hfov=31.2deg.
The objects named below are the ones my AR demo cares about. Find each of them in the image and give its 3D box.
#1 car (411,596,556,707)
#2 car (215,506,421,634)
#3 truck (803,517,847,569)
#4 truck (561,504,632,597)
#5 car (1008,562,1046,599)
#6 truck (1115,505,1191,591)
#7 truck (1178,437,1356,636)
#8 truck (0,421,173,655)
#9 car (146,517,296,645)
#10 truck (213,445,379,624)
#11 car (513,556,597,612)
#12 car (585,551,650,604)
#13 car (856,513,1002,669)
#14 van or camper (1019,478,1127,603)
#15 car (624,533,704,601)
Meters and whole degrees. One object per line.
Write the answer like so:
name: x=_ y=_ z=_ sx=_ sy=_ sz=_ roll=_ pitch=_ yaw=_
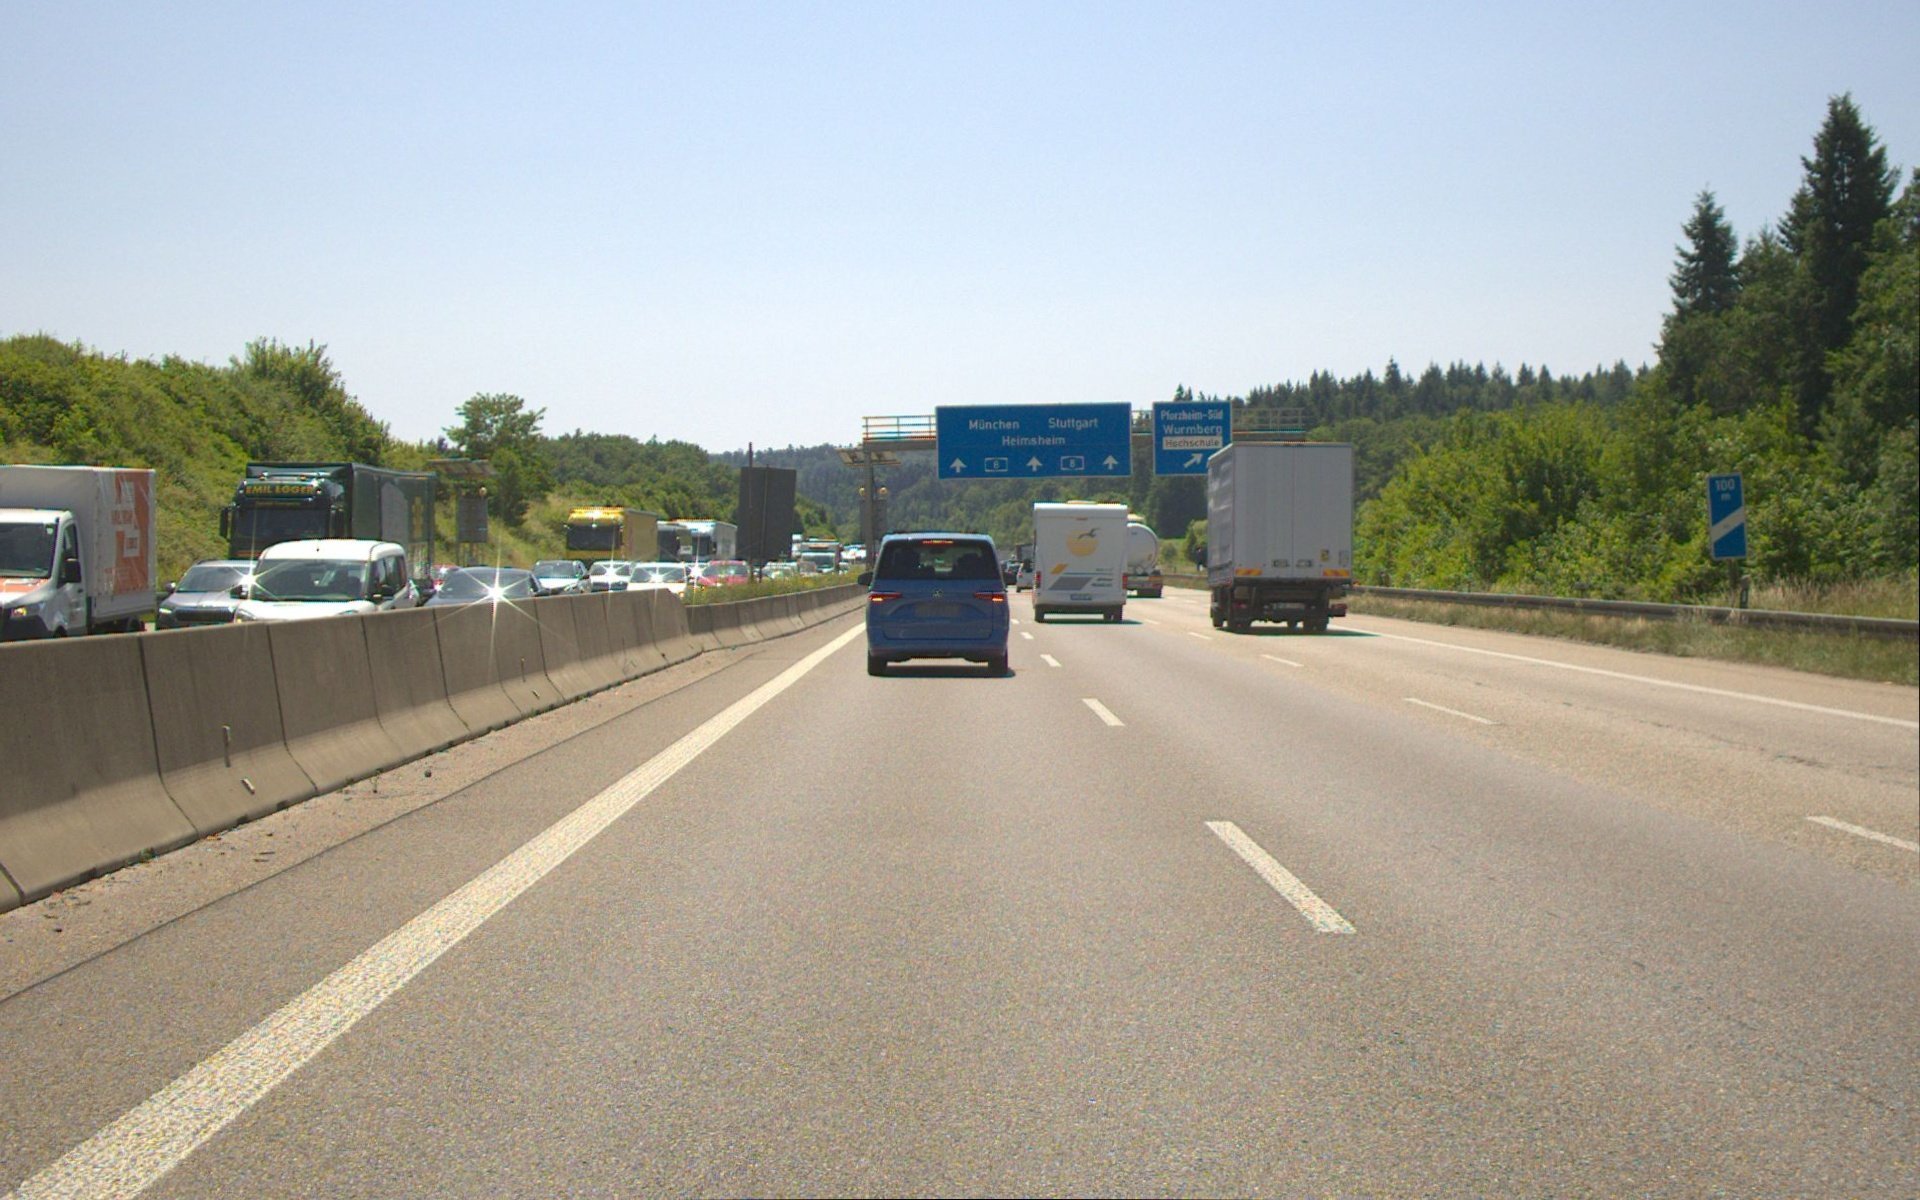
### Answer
car: x=-7.982 y=0.826 z=57.931 sx=1.827 sy=1.758 sz=4.991 roll=1 pitch=0 yaw=-1
car: x=-8.344 y=-0.378 z=45.093 sx=1.827 sy=1.559 sz=5.111 roll=1 pitch=0 yaw=-1
truck: x=-7.567 y=-3.175 z=193.574 sx=2.120 sy=2.832 sz=6.212 roll=1 pitch=0 yaw=1
truck: x=-16.241 y=-2.186 z=154.067 sx=2.602 sy=4.050 sz=6.133 roll=1 pitch=0 yaw=-1
car: x=3.293 y=-0.975 z=169.751 sx=1.818 sy=1.788 sz=3.894 roll=1 pitch=0 yaw=1
truck: x=8.339 y=-2.305 z=149.370 sx=2.928 sy=3.563 sz=8.526 roll=-1 pitch=1 yaw=1
truck: x=6.696 y=-1.337 z=76.327 sx=2.783 sy=4.114 sz=9.740 roll=1 pitch=0 yaw=-1
truck: x=-12.477 y=-0.774 z=45.177 sx=2.569 sy=2.835 sz=6.752 roll=1 pitch=0 yaw=1
car: x=-12.143 y=-0.305 z=56.681 sx=1.623 sy=2.007 sz=4.000 roll=1 pitch=0 yaw=-1
truck: x=-16.165 y=-1.560 z=84.024 sx=2.819 sy=4.189 sz=5.629 roll=1 pitch=0 yaw=1
car: x=-12.134 y=-0.488 z=103.295 sx=1.811 sy=1.623 sz=5.219 roll=1 pitch=0 yaw=1
car: x=-11.823 y=-0.774 z=118.855 sx=1.827 sy=1.758 sz=4.991 roll=1 pitch=0 yaw=-1
car: x=-0.420 y=-0.165 z=46.810 sx=1.909 sy=2.006 sz=4.000 roll=0 pitch=2 yaw=0
van or camper: x=2.871 y=-1.547 z=89.018 sx=2.603 sy=3.068 sz=7.182 roll=1 pitch=1 yaw=1
car: x=-7.976 y=-0.881 z=92.932 sx=1.827 sy=1.758 sz=4.991 roll=1 pitch=0 yaw=-1
